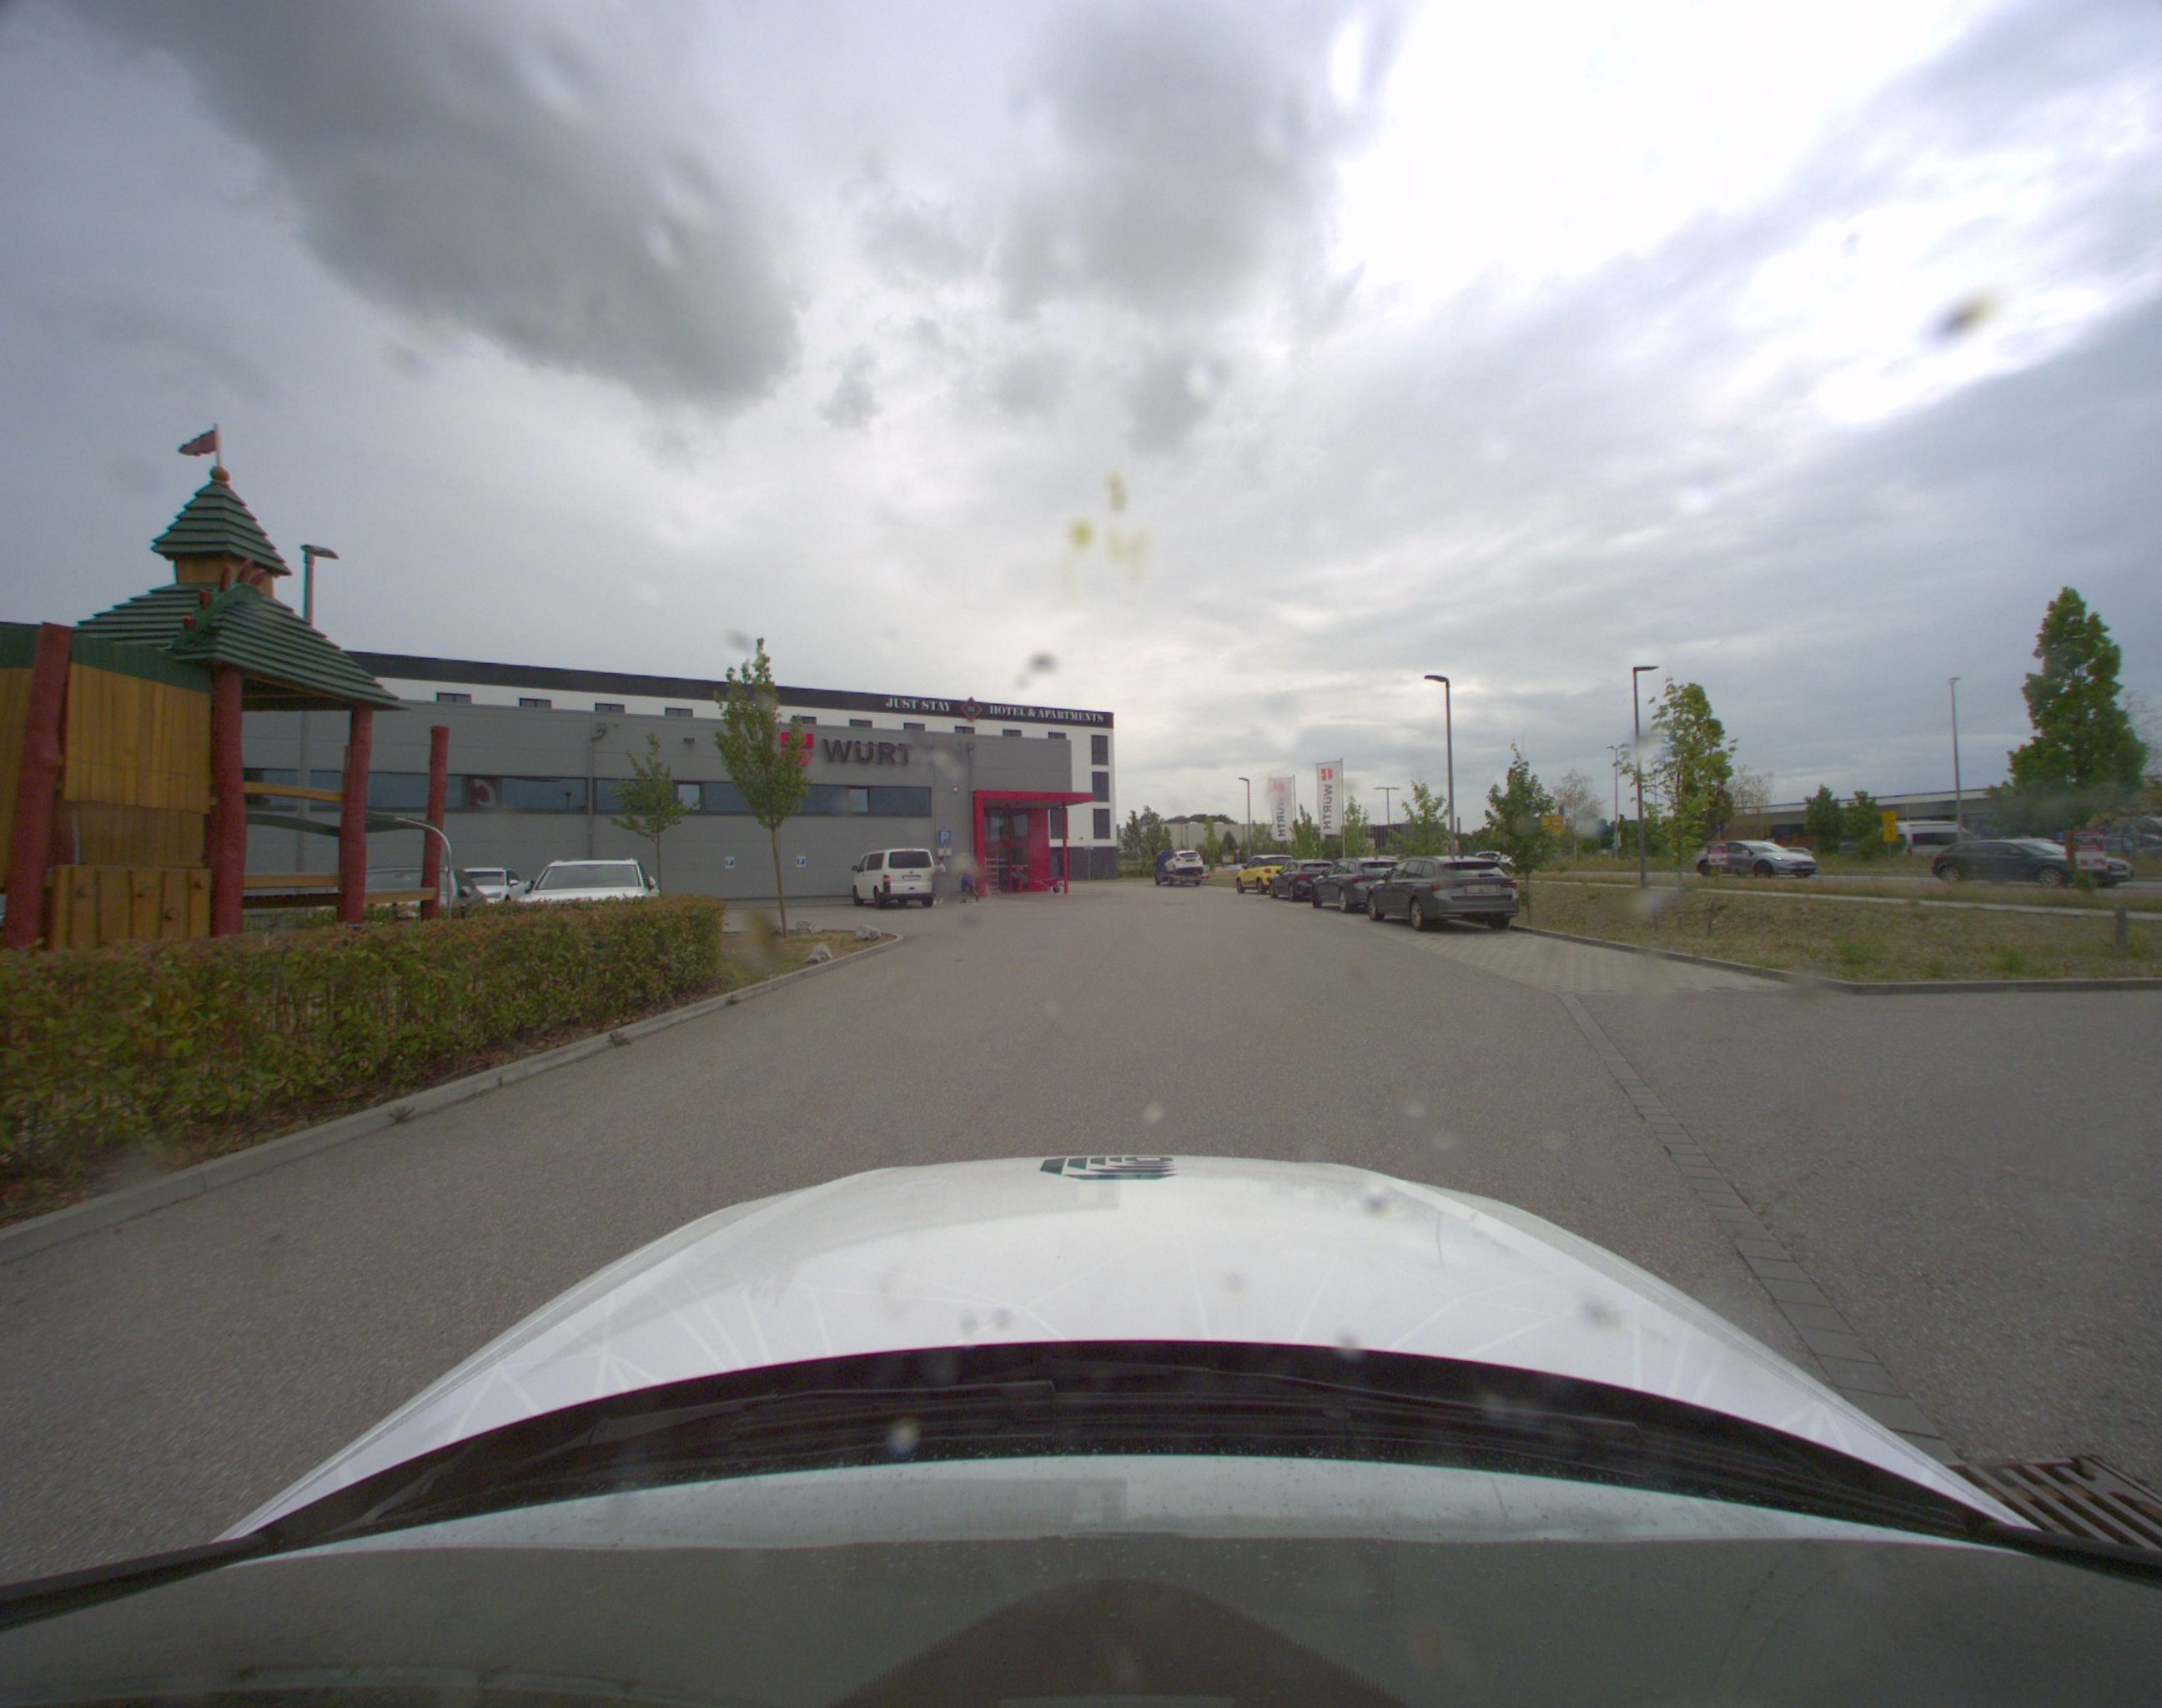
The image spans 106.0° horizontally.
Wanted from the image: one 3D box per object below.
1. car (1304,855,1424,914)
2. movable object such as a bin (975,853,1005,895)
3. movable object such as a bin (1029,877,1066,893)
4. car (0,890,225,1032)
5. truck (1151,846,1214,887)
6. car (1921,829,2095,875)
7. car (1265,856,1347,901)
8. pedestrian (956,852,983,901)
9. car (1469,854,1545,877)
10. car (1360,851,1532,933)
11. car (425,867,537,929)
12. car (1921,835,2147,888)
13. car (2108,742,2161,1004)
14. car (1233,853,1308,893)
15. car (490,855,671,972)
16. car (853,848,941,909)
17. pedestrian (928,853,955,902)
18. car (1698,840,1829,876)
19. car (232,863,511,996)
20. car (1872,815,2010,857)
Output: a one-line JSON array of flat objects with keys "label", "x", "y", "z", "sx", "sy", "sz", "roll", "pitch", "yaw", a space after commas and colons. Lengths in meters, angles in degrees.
[{"label": "car", "x": 7.774, "y": 0.804, "z": 22.835, "sx": 1.746, "sy": 1.469, "sz": 4.474, "roll": -1, "pitch": -1, "yaw": -1}, {"label": "movable object such as a bin", "x": -3.746, "y": 0.813, "z": 33.547, "sx": 0.915, "sy": 1.672, "sz": 0.737, "roll": -4, "pitch": 0, "yaw": -27}, {"label": "movable object such as a bin", "x": -1.537, "y": 1.409, "z": 37.100, "sx": 1.493, "sy": 0.704, "sz": 0.958, "roll": 0, "pitch": -1, "yaw": -21}, {"label": "car", "x": -14.782, "y": 1.420, "z": 11.478, "sx": 2.002, "sy": 1.650, "sz": 4.543, "roll": -3, "pitch": -1, "yaw": -23}, {"label": "truck", "x": 6.382, "y": 0.878, "z": 52.203, "sx": 2.328, "sy": 2.407, "sz": 7.879, "roll": 0, "pitch": -2, "yaw": -6}, {"label": "car", "x": 33.041, "y": -0.039, "z": 29.210, "sx": 1.651, "sy": 1.459, "sz": 3.917, "roll": -3, "pitch": -1, "yaw": -2}, {"label": "car", "x": 7.965, "y": 0.848, "z": 29.151, "sx": 1.746, "sy": 1.469, "sz": 4.106, "roll": -1, "pitch": -1, "yaw": -1}, {"label": "pedestrian", "x": -4.158, "y": 0.825, "z": 30.400, "sx": 0.672, "sy": 1.803, "sz": 0.883, "roll": -2, "pitch": -1, "yaw": 14}, {"label": "car", "x": 27.636, "y": 0.776, "z": 52.979, "sx": 1.766, "sy": 1.395, "sz": 4.534, "roll": -1, "pitch": -1, "yaw": -15}, {"label": "car", "x": 7.458, "y": 0.719, "z": 17.184, "sx": 1.745, "sy": 1.469, "sz": 4.478, "roll": -1, "pitch": -1, "yaw": 2}, {"label": "car", "x": -17.291, "y": 1.227, "z": 23.692, "sx": 1.745, "sy": 1.552, "sz": 4.228, "roll": -3, "pitch": -1, "yaw": -25}, {"label": "car", "x": 28.221, "y": 0.224, "z": 24.364, "sx": 1.758, "sy": 1.395, "sz": 4.216, "roll": -2, "pitch": -1, "yaw": -1}, {"label": "car", "x": 11.114, "y": 0.075, "z": 5.558, "sx": 5.186, "sy": 2.086, "sz": 2.004, "roll": -2, "pitch": 0, "yaw": 6}, {"label": "car", "x": 8.206, "y": 0.820, "z": 35.645, "sx": 1.856, "sy": 1.650, "sz": 3.987, "roll": 0, "pitch": -1, "yaw": -9}, {"label": "car", "x": -8.681, "y": 0.951, "z": 14.572, "sx": 2.002, "sy": 1.650, "sz": 4.543, "roll": -3, "pitch": -1, "yaw": -23}, {"label": "car", "x": -6.453, "y": 0.847, "z": 28.262, "sx": 2.066, "sy": 1.855, "sz": 4.026, "roll": -3, "pitch": -1, "yaw": -26}, {"label": "pedestrian", "x": -5.100, "y": 0.863, "z": 29.882, "sx": 0.619, "sy": 1.751, "sz": 0.909, "roll": -2, "pitch": -1, "yaw": 14}, {"label": "car", "x": 29.179, "y": 0.181, "z": 35.036, "sx": 1.758, "sy": 1.395, "sz": 4.556, "roll": -2, "pitch": -1, "yaw": -1}, {"label": "car", "x": -11.052, "y": 1.059, "z": 13.180, "sx": 2.002, "sy": 1.650, "sz": 4.543, "roll": -3, "pitch": -1, "yaw": -23}, {"label": "car", "x": 51.371, "y": -1.049, "z": 48.753, "sx": 5.555, "sy": 2.122, "sz": 2.342, "roll": -3, "pitch": -1, "yaw": 3}]
